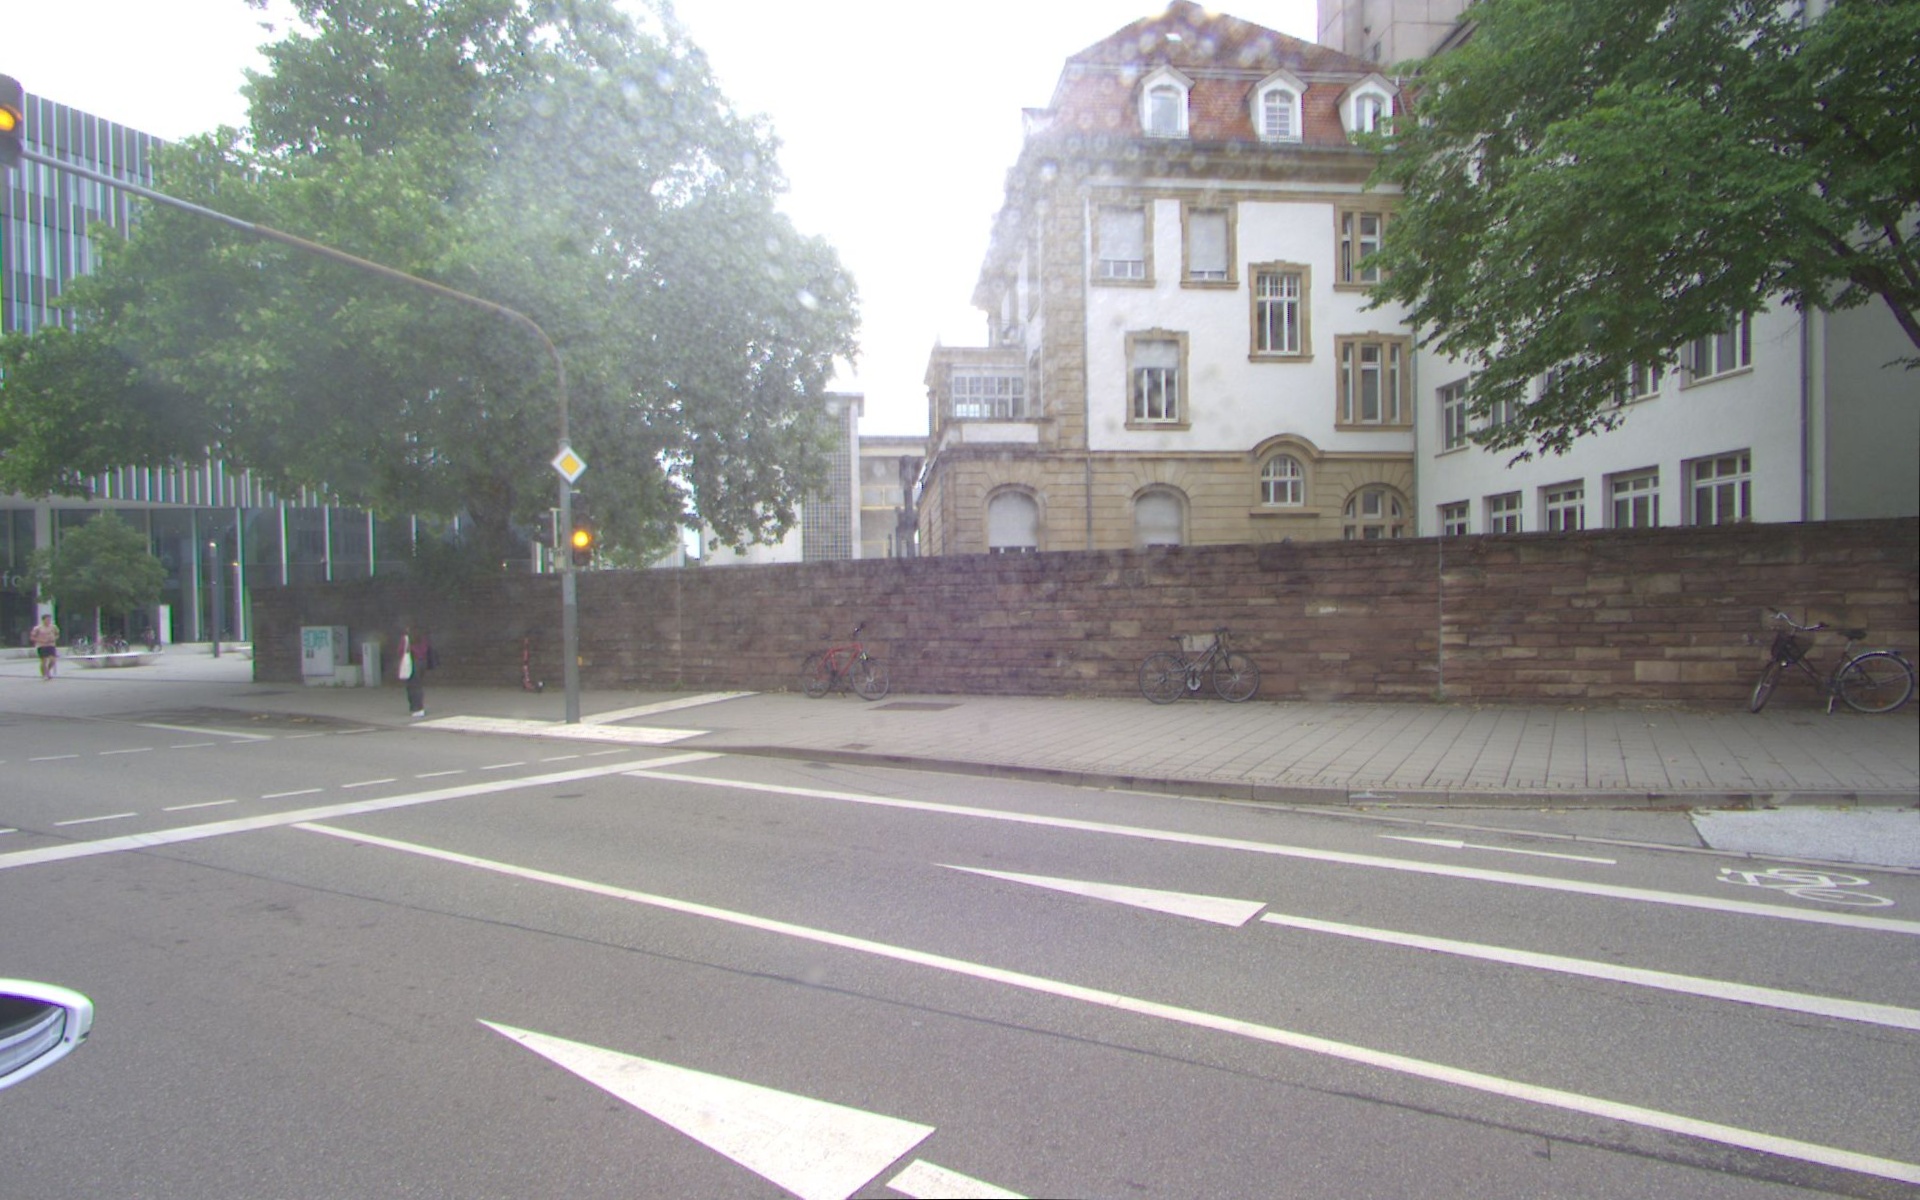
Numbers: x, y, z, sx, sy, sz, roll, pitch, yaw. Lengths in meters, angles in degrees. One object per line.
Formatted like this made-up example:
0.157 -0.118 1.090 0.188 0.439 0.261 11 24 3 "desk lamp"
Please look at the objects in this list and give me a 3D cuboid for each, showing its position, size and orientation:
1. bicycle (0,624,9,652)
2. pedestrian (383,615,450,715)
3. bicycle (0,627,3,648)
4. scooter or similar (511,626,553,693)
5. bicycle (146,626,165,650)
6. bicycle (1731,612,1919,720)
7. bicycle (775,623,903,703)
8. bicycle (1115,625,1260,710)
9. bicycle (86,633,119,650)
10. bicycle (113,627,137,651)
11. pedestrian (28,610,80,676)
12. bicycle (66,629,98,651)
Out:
-46.275 1.834 48.197 0.522 1.270 1.652 -3 2 -39 "bicycle"
-9.100 1.073 16.772 0.627 1.584 0.658 0 5 32 "pedestrian"
-48.438 1.915 49.930 0.613 1.060 1.696 -2 2 -31 "bicycle"
-8.365 1.127 19.537 0.427 1.195 1.693 -3 2 -33 "scooter or similar"
-39.228 1.835 48.833 0.616 1.070 1.933 -2 2 -38 "bicycle"
10.181 0.745 11.524 1.889 1.143 0.849 -1 2 17 "bicycle"
-1.974 0.990 16.292 1.923 1.190 0.802 -1 3 27 "bicycle"
3.233 0.934 14.168 1.934 1.088 0.941 -1 2 17 "bicycle"
-41.605 2.028 48.615 0.510 0.726 1.525 -1 1 -11 "bicycle"
-40.480 1.874 48.553 0.802 1.070 1.933 -2 2 -38 "bicycle"
-25.560 1.205 28.258 0.756 1.789 0.845 0 2 32 "pedestrian"
-42.549 1.942 48.546 0.686 0.959 1.975 -2 1 -27 "bicycle"
